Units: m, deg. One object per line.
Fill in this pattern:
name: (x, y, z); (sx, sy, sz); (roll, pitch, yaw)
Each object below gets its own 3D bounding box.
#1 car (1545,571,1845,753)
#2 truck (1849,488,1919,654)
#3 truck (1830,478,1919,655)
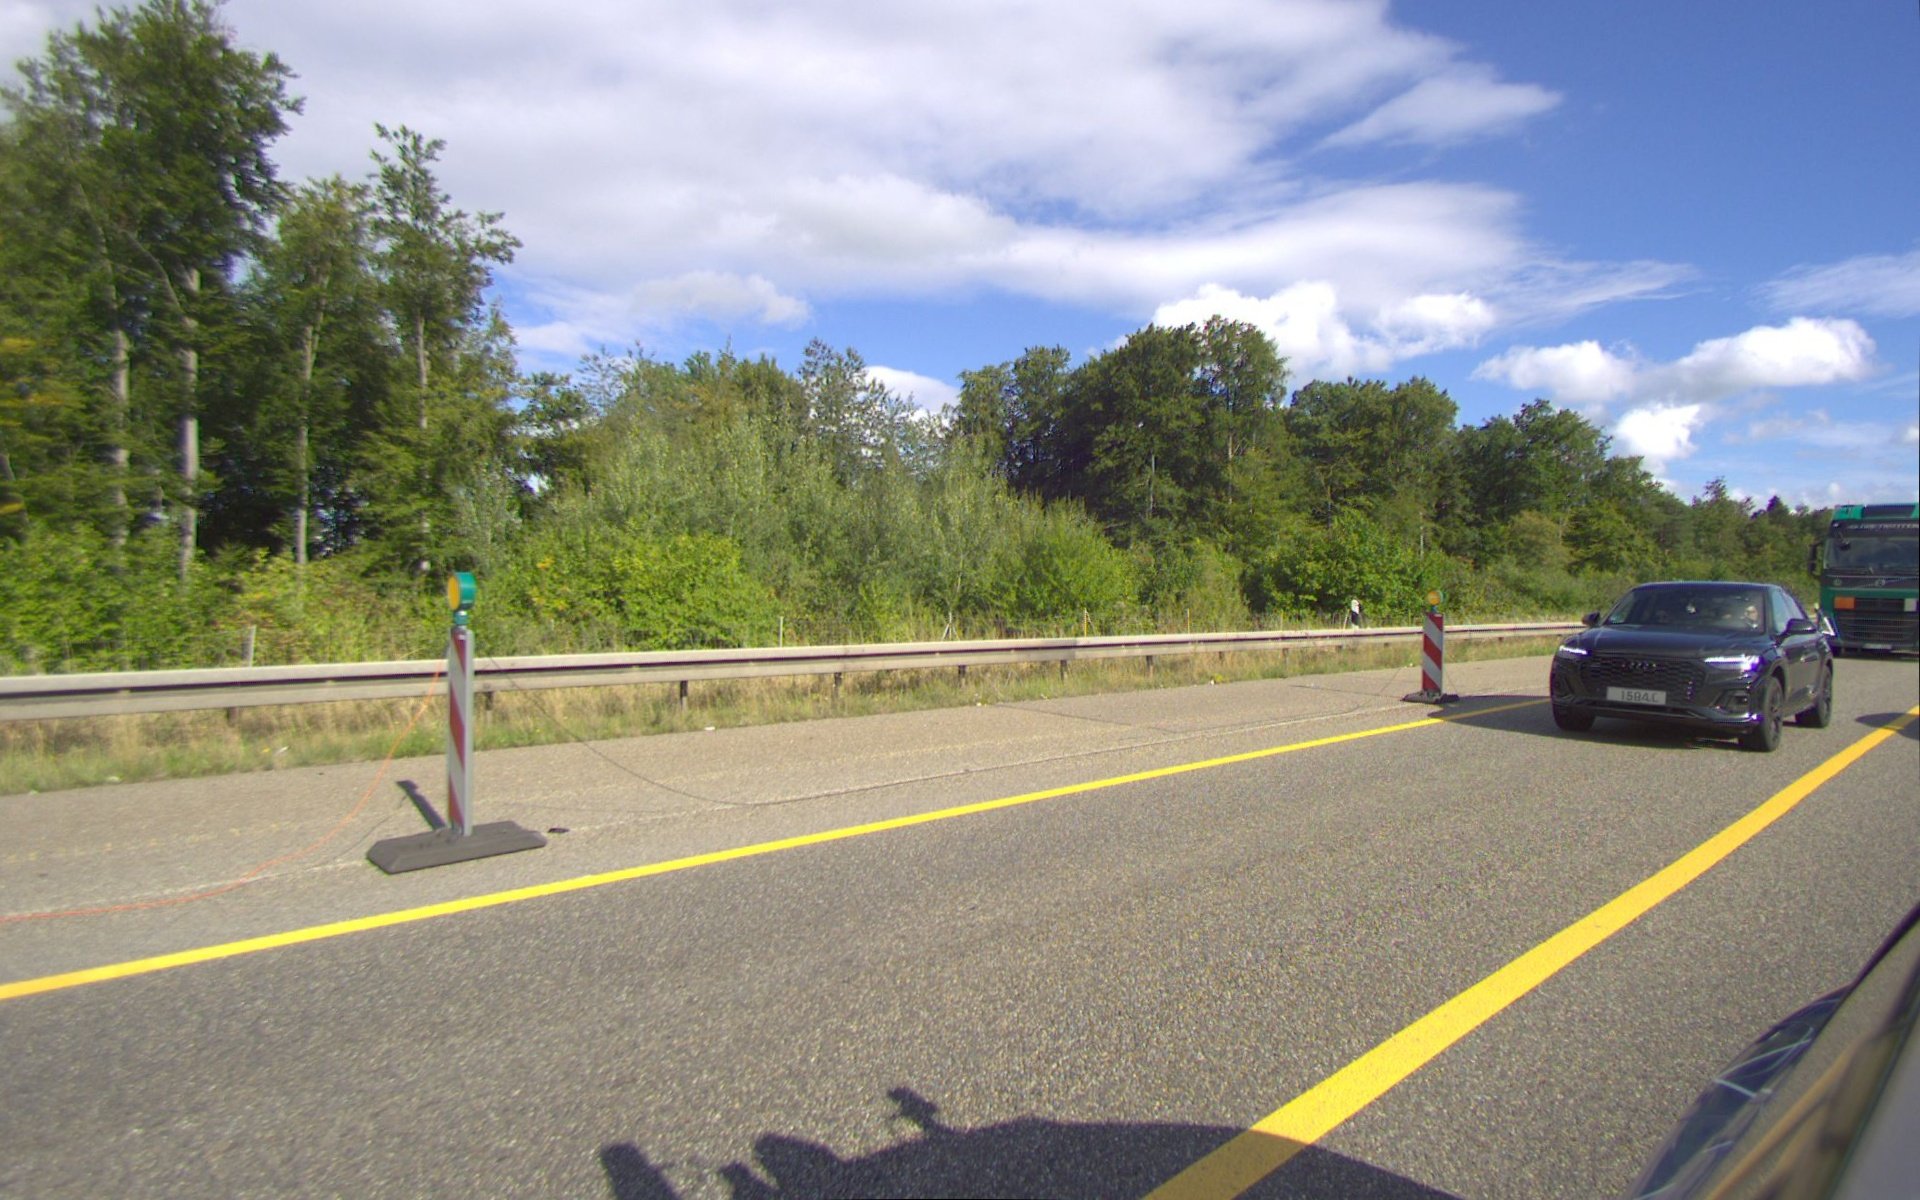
car: (8.174, 0.525, 11.105); (4.219, 1.622, 1.781); (-1, 1, -41)
truck: (29.498, -0.715, 30.388); (13.963, 4.196, 2.468); (0, 0, -41)
truck: (24.781, -0.814, 26.202); (6.738, 4.151, 2.526); (-1, 1, -41)
